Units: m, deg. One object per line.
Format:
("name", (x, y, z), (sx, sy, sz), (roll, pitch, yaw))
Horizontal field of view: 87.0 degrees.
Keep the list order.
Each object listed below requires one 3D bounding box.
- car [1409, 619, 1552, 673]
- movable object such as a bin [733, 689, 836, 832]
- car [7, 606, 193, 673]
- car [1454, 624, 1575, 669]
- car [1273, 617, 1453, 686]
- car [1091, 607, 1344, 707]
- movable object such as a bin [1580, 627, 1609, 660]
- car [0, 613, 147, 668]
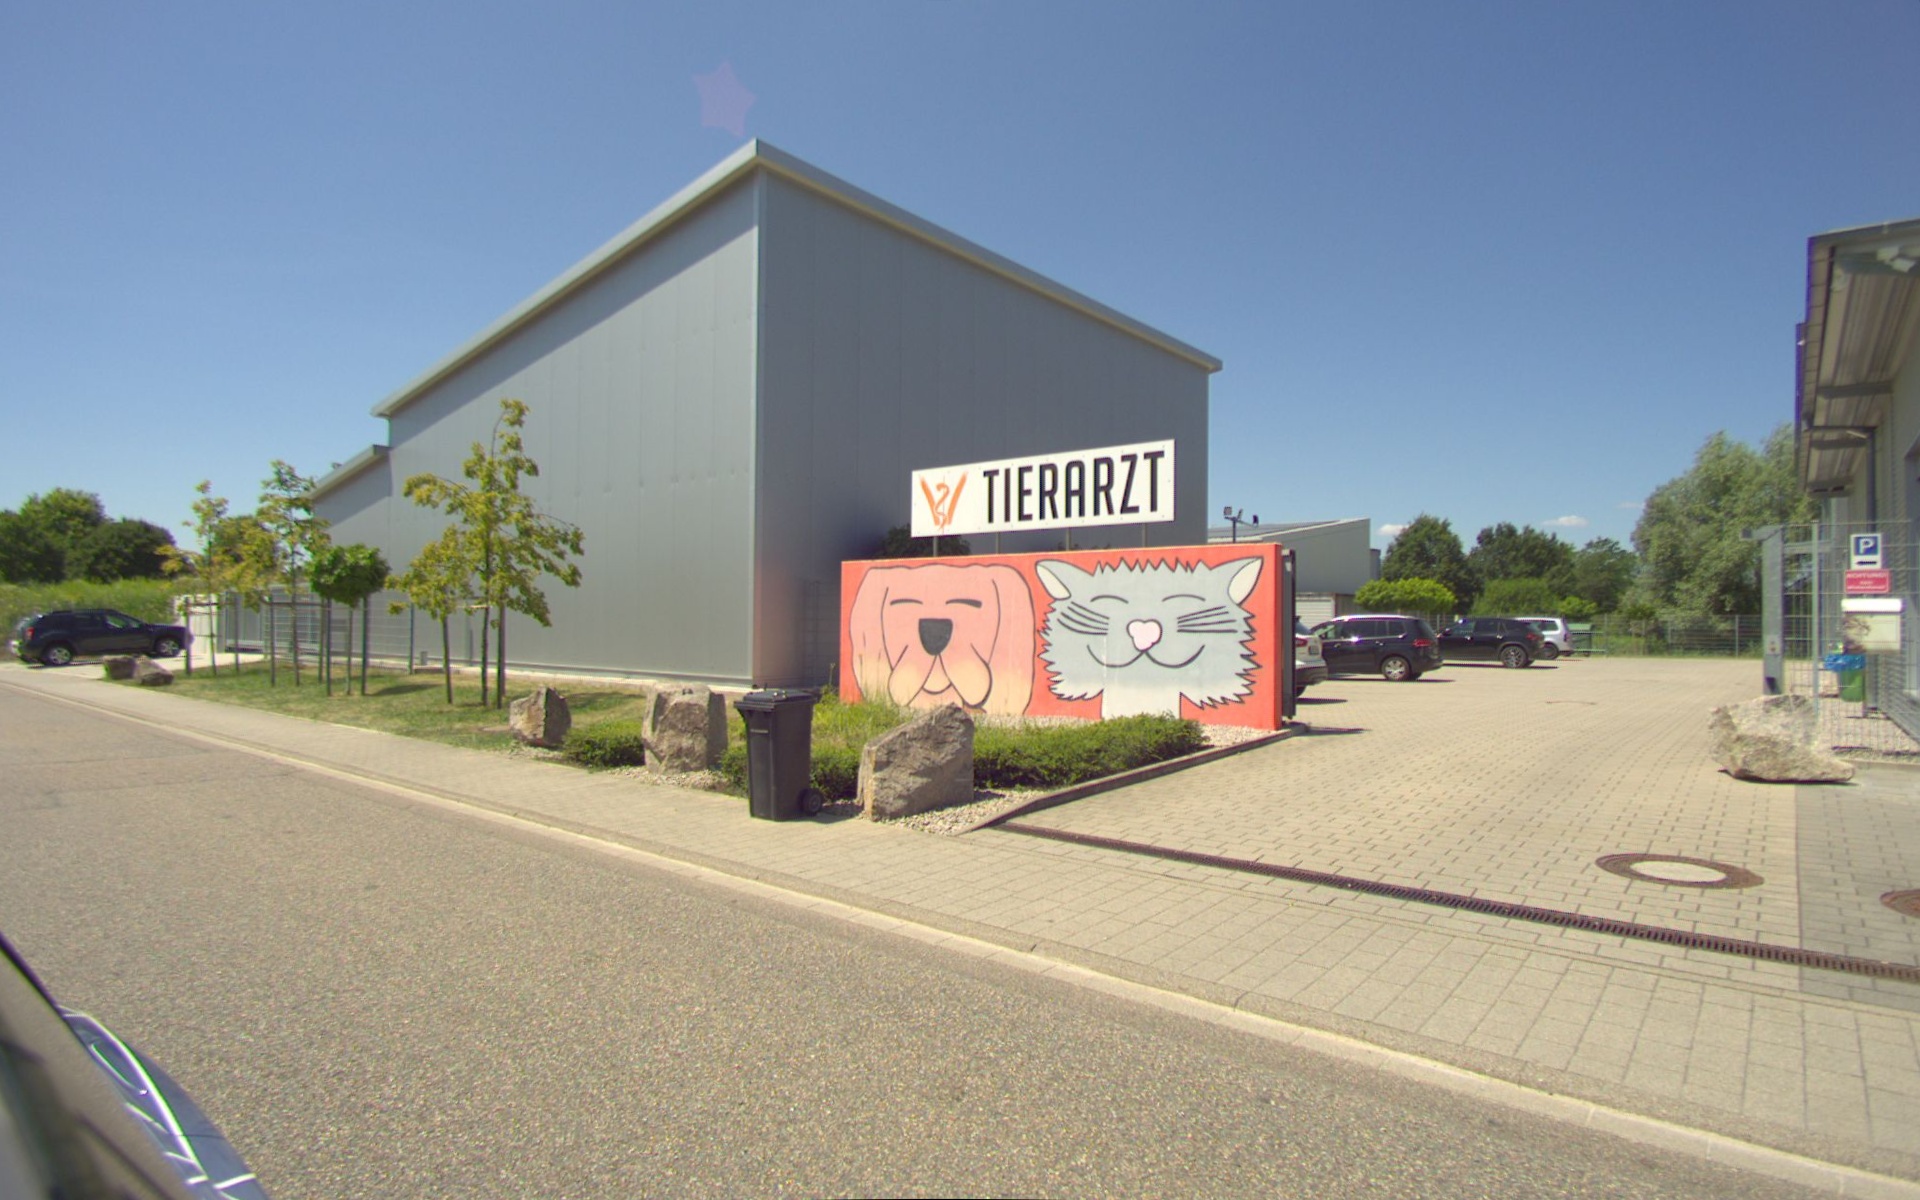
("car", (17.120, 1.476, 33.324), (3.990, 1.660, 1.977), (-1, -2, 34))
("movable object such as a bin", (-1.298, 1.162, 7.508), (0.511, 0.957, 0.566), (-1, -2, 34))
("car", (-26.655, 1.161, 31.480), (1.780, 1.671, 4.122), (-1, 3, 39))
("car", (21.741, 1.787, 39.718), (3.990, 1.660, 1.977), (-1, -2, 34))
("car", (10.381, 1.281, 26.130), (3.990, 1.660, 1.977), (-1, -2, 34))
("car", (4.549, 0.967, 18.065), (3.990, 1.596, 1.890), (-1, -2, 34))
("movable object such as a bin", (27.373, 1.870, 43.688), (1.025, 1.384, 0.728), (-1, -2, 34))
("car", (-29.086, 1.284, 33.234), (1.779, 1.472, 3.330), (-1, 3, 37))
